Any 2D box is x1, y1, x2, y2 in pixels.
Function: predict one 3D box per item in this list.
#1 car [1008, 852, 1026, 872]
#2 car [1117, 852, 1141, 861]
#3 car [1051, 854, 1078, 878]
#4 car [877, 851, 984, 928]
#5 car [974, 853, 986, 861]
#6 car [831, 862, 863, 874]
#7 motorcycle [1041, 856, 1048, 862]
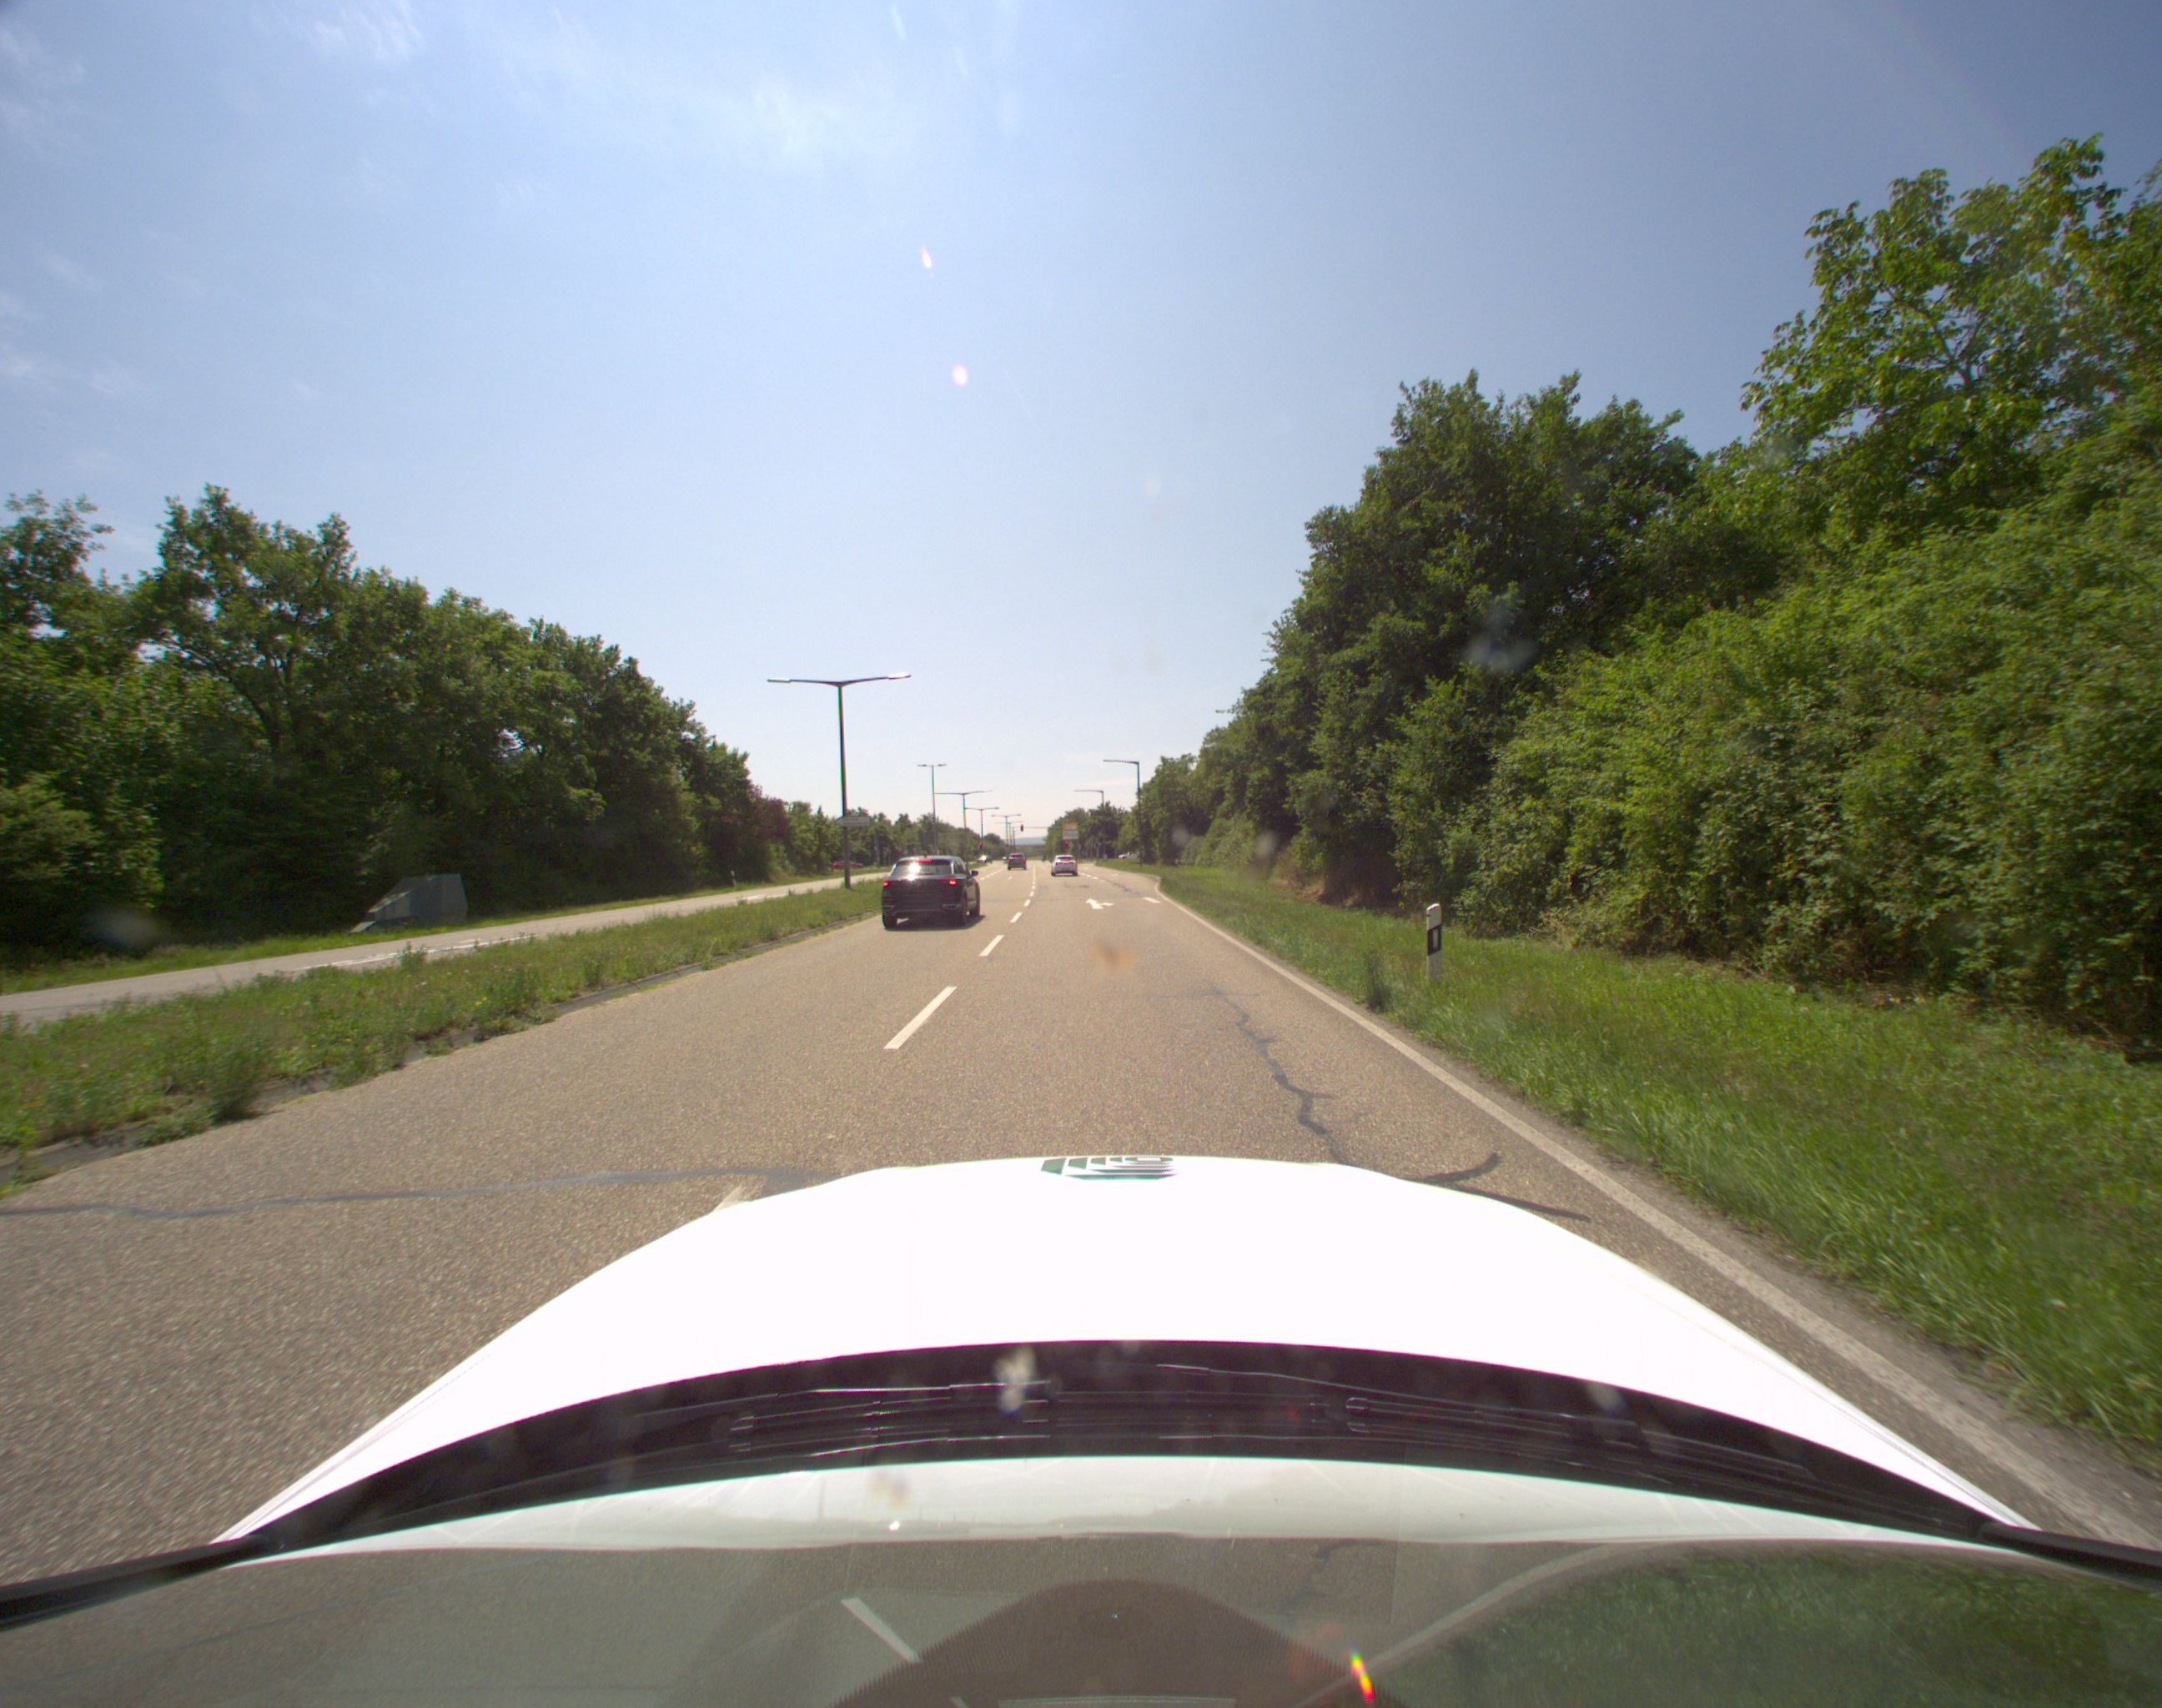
[{"bbox_3d":[-6.572,0.845,84.028,1.751,1.929,3.995,-2,0,-3],"label":"car"},{"bbox_3d":[8.817,0.429,150.709,4.104,1.525,1.930,-2,0,-12],"label":"car"},{"bbox_3d":[-1.193,0.813,57.285,1.792,1.583,3.997,-2,0,-2],"label":"car"},{"bbox_3d":[-3.371,0.751,18.993,1.750,1.556,3.999,-2,0,-1],"label":"car"},{"bbox_3d":[-20.047,0.623,161.652,1.823,1.519,3.998,-1,0,-1],"label":"car"},{"bbox_3d":[-36.773,2.176,128.124,4.525,1.641,1.970,-1,0,-11],"label":"car"},{"bbox_3d":[-7.894,1.061,174.935,1.421,1.281,2.566,-3,0,-3],"label":"motorcycle"}]
